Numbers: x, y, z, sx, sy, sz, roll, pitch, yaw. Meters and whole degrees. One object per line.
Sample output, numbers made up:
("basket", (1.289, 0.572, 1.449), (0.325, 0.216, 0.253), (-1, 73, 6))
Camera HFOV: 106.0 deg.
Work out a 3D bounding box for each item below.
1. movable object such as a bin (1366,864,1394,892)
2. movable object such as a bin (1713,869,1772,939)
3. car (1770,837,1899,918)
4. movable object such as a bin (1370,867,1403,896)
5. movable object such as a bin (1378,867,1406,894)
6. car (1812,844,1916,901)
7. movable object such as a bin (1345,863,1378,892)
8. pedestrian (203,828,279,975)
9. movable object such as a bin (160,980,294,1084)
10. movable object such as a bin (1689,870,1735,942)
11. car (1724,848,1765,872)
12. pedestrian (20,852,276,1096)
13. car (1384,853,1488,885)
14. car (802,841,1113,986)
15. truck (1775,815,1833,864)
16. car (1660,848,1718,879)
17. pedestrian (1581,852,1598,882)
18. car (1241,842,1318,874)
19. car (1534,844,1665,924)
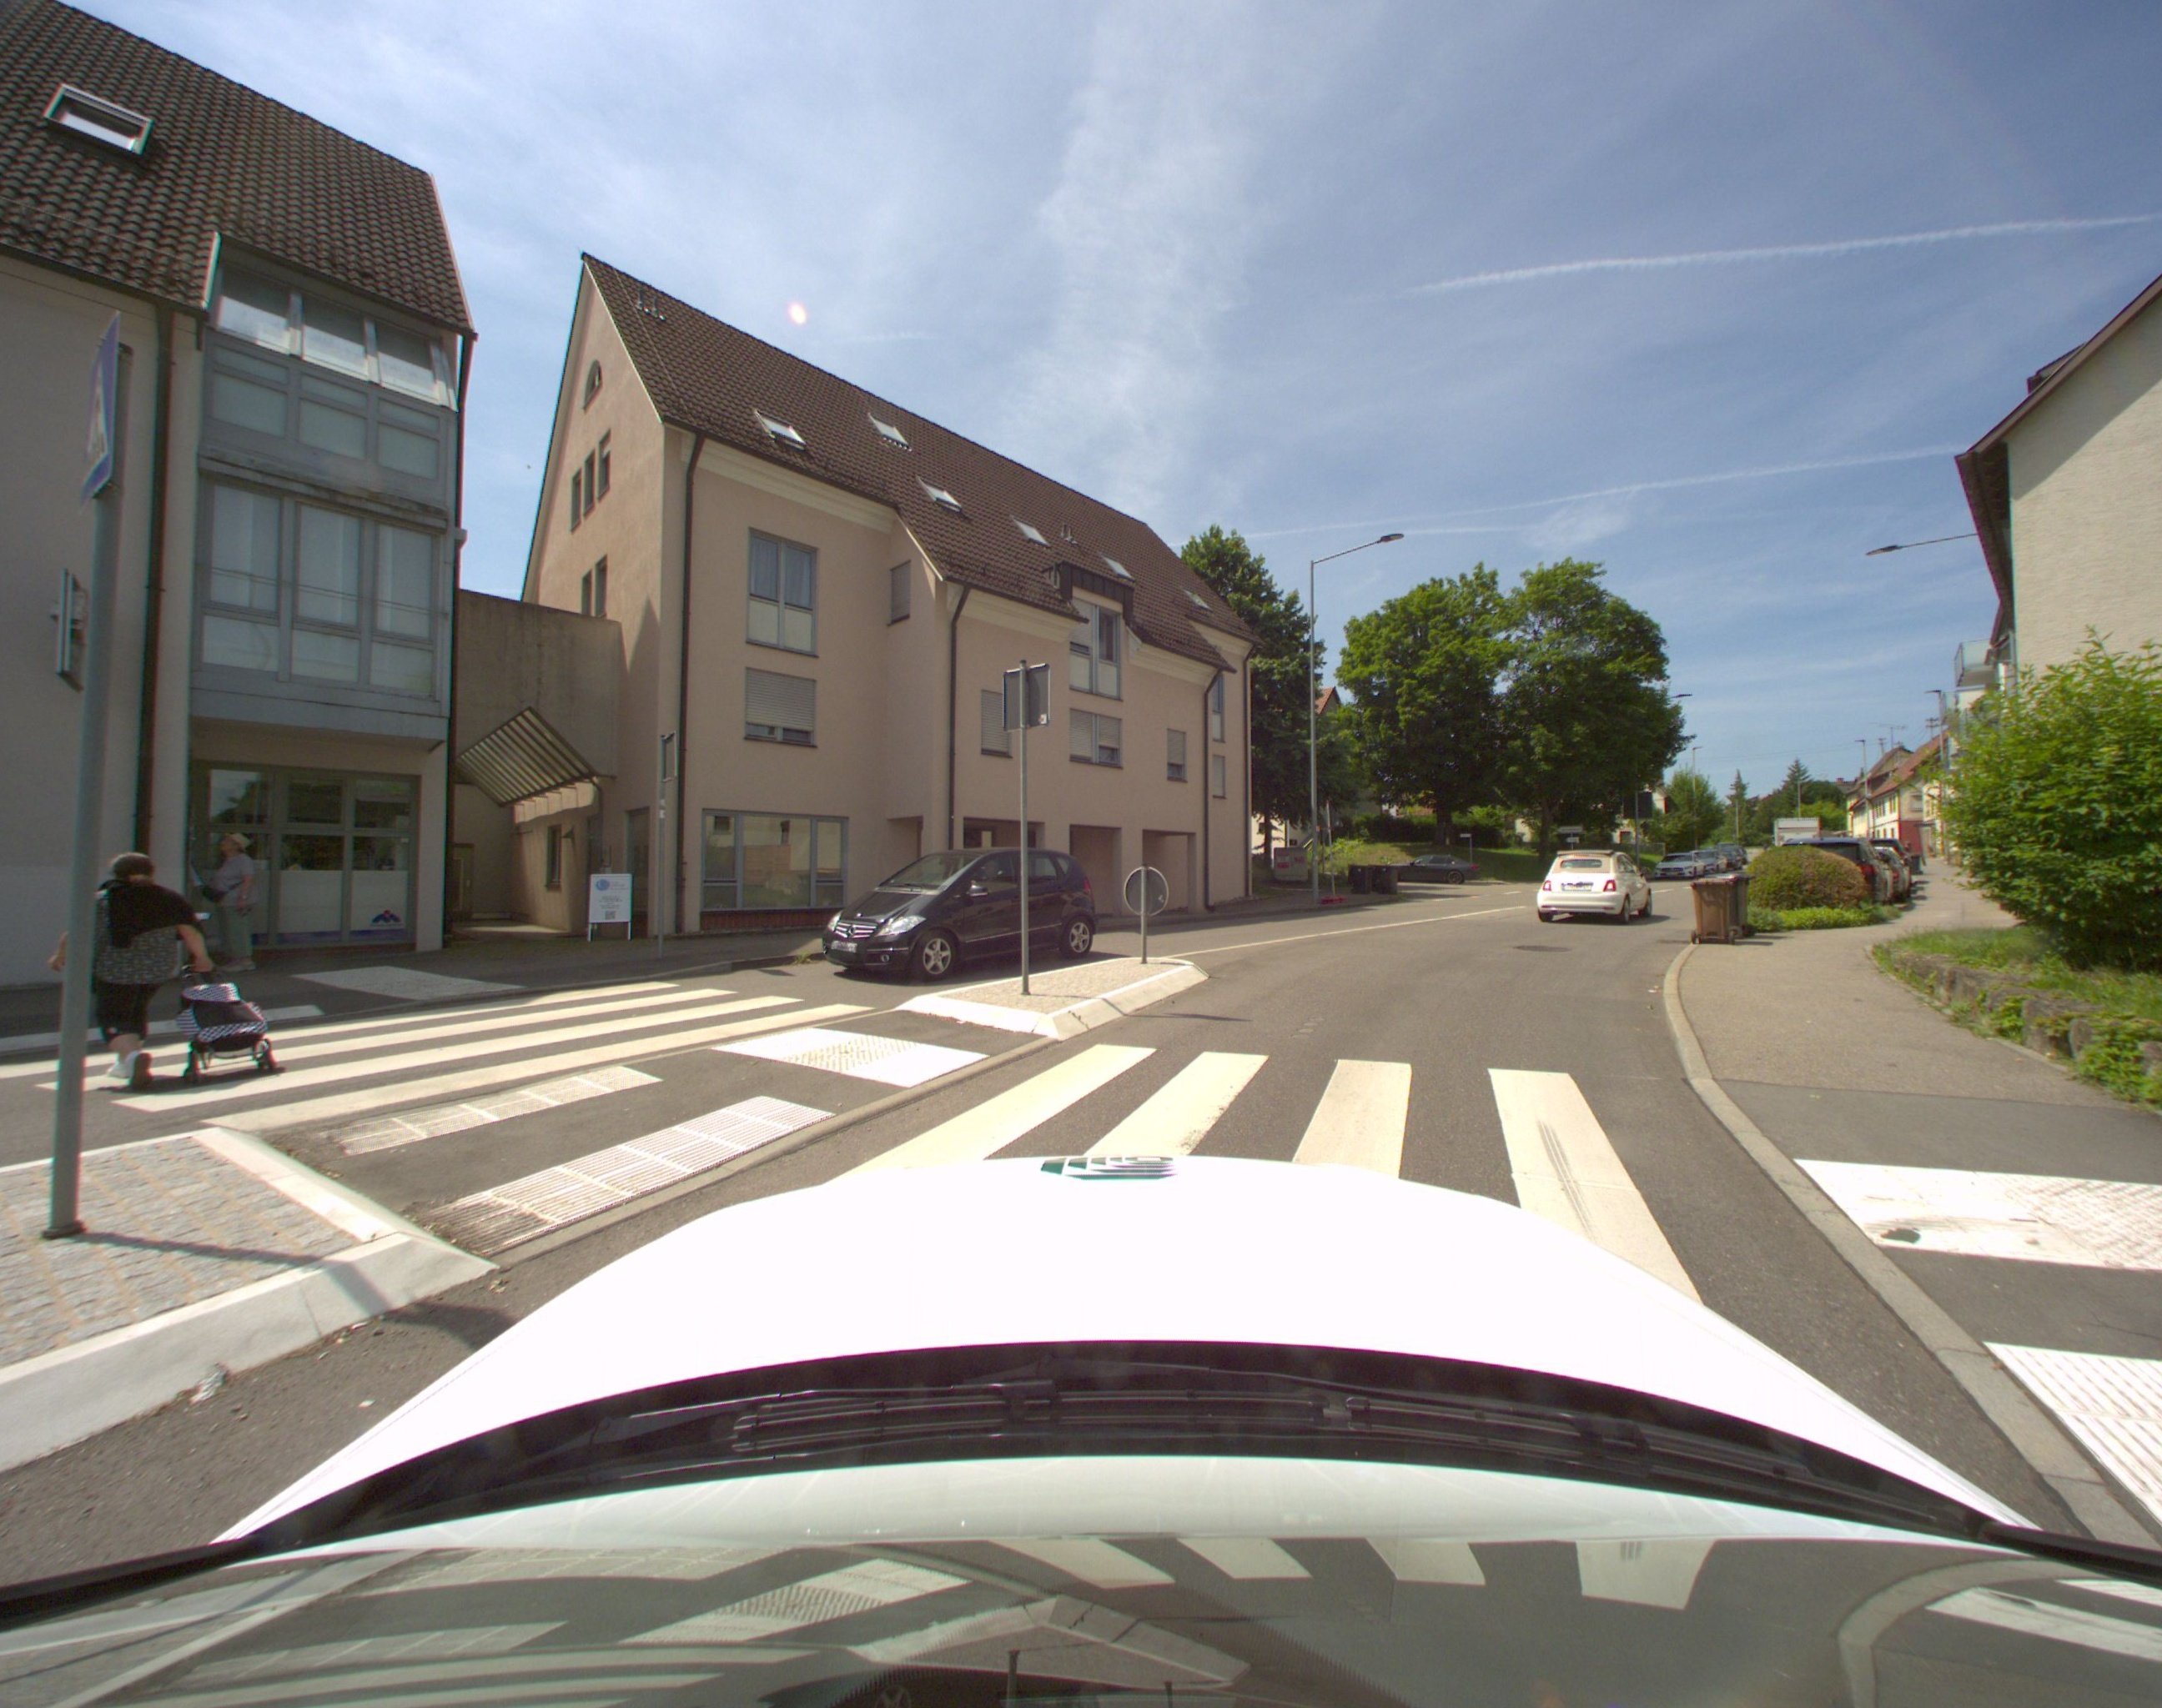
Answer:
("movable object such as a bin", (11.465, 0.913, 31.225), (0.612, 1.000, 0.765), (2, 1, -41))
("movable object such as a bin", (9.856, 0.730, 12.138), (0.503, 0.993, 0.521), (-2, 1, -29))
("car", (17.591, 0.495, 18.933), (4.681, 1.670, 1.827), (0, -1, -43))
("movable object such as a bin", (10.949, 0.981, 29.170), (0.697, 1.000, 0.844), (0, -1, -41))
("movable object such as a bin", (12.073, 1.027, 31.630), (0.612, 1.000, 0.765), (2, 1, -40))
("car", (21.877, 0.478, 22.711), (4.382, 1.420, 1.773), (-1, -1, -42))
("movable object such as a bin", (10.028, 0.831, 29.125), (0.809, 1.000, 0.793), (-2, 2, -41))
("pedestrian", (-10.173, 0.556, 9.882), (0.582, 1.709, 0.570), (0, 0, -41))
("movable object such as a bin", (-5.739, 1.178, 5.483), (0.463, 0.581, 0.461), (-1, -1, 18))
("movable object such as a bin", (9.112, 0.735, 11.752), (0.495, 0.993, 0.507), (-1, -1, 39))
("car", (45.979, 0.420, 56.386), (1.787, 1.424, 4.957), (-4, -2, 44))
("pedestrian", (-6.226, 0.736, 5.469), (0.946, 1.478, 0.806), (-1, -1, 18))
("car", (18.333, 0.733, 42.062), (4.731, 1.479, 2.012), (2, 1, 28))
("car", (-1.482, 0.655, 10.966), (1.735, 1.584, 3.969), (-1, -1, 40))
("truck", (60.389, -1.128, 68.200), (3.038, 3.774, 7.917), (-3, -2, 39))
("car", (33.159, 0.500, 44.355), (4.387, 1.467, 1.739), (-1, -3, -44))
("pedestrian", (26.793, 0.683, 42.941), (0.723, 1.616, 0.633), (-1, -1, 30))
("car", (11.413, 0.173, 47.029), (1.919, 1.683, 3.954), (-1, 2, -39))
("car", (11.437, 0.591, 17.836), (1.708, 1.560, 4.024), (-2, -1, 43))
